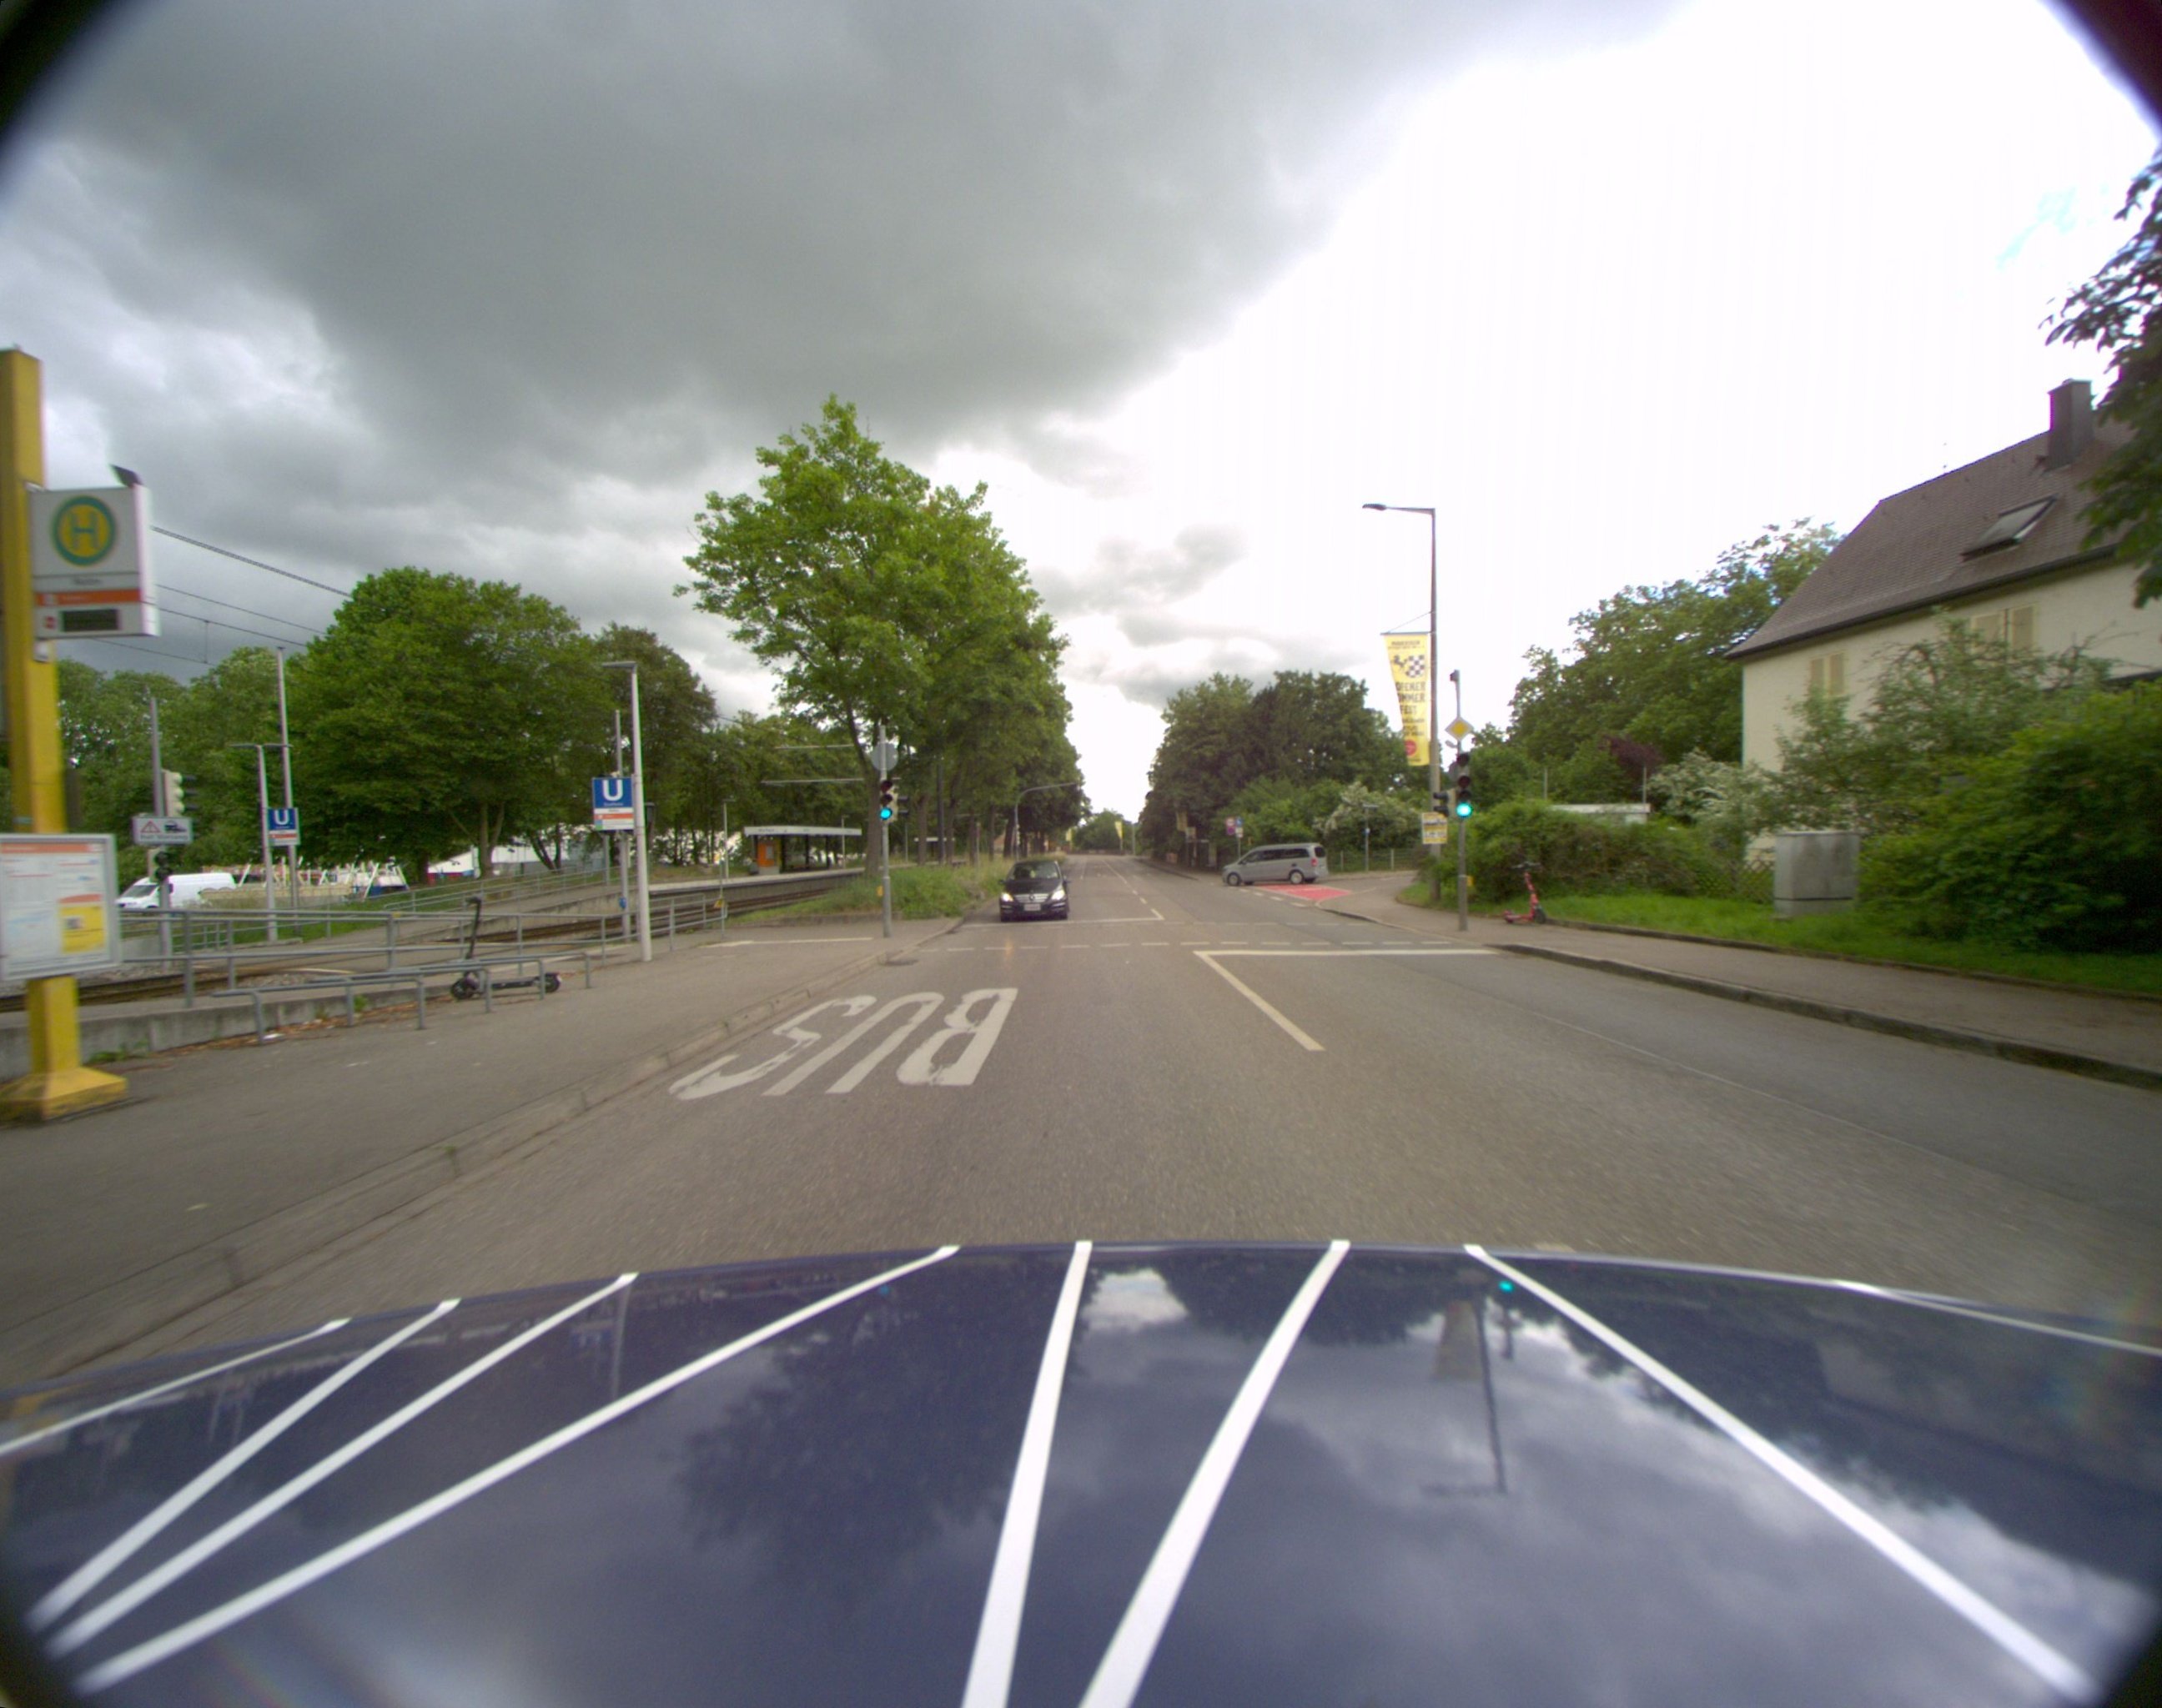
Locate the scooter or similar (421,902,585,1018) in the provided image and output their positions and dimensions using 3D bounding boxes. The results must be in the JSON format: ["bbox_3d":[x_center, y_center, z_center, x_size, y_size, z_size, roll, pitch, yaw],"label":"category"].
[{"bbox_3d":[-7.031,1.259,9.310,1.459,1.235,0.484,-3,1,-20],"label":"scooter or similar"}]

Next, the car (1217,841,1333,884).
[{"bbox_3d":[9.574,0.423,37.667,5.141,1.916,1.956,-2,1,36],"label":"car"}]

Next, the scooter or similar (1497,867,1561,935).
[{"bbox_3d":[8.976,0.913,15.267,0.463,1.251,1.426,-2,1,2],"label":"scooter or similar"}]

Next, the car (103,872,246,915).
[{"bbox_3d":[-57.518,2.412,48.456,1.998,2.369,5.807,-2,0,1],"label":"car"}]

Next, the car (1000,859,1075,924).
[{"bbox_3d":[-1.114,0.956,21.160,1.751,1.556,4.074,0,1,1],"label":"car"}]
